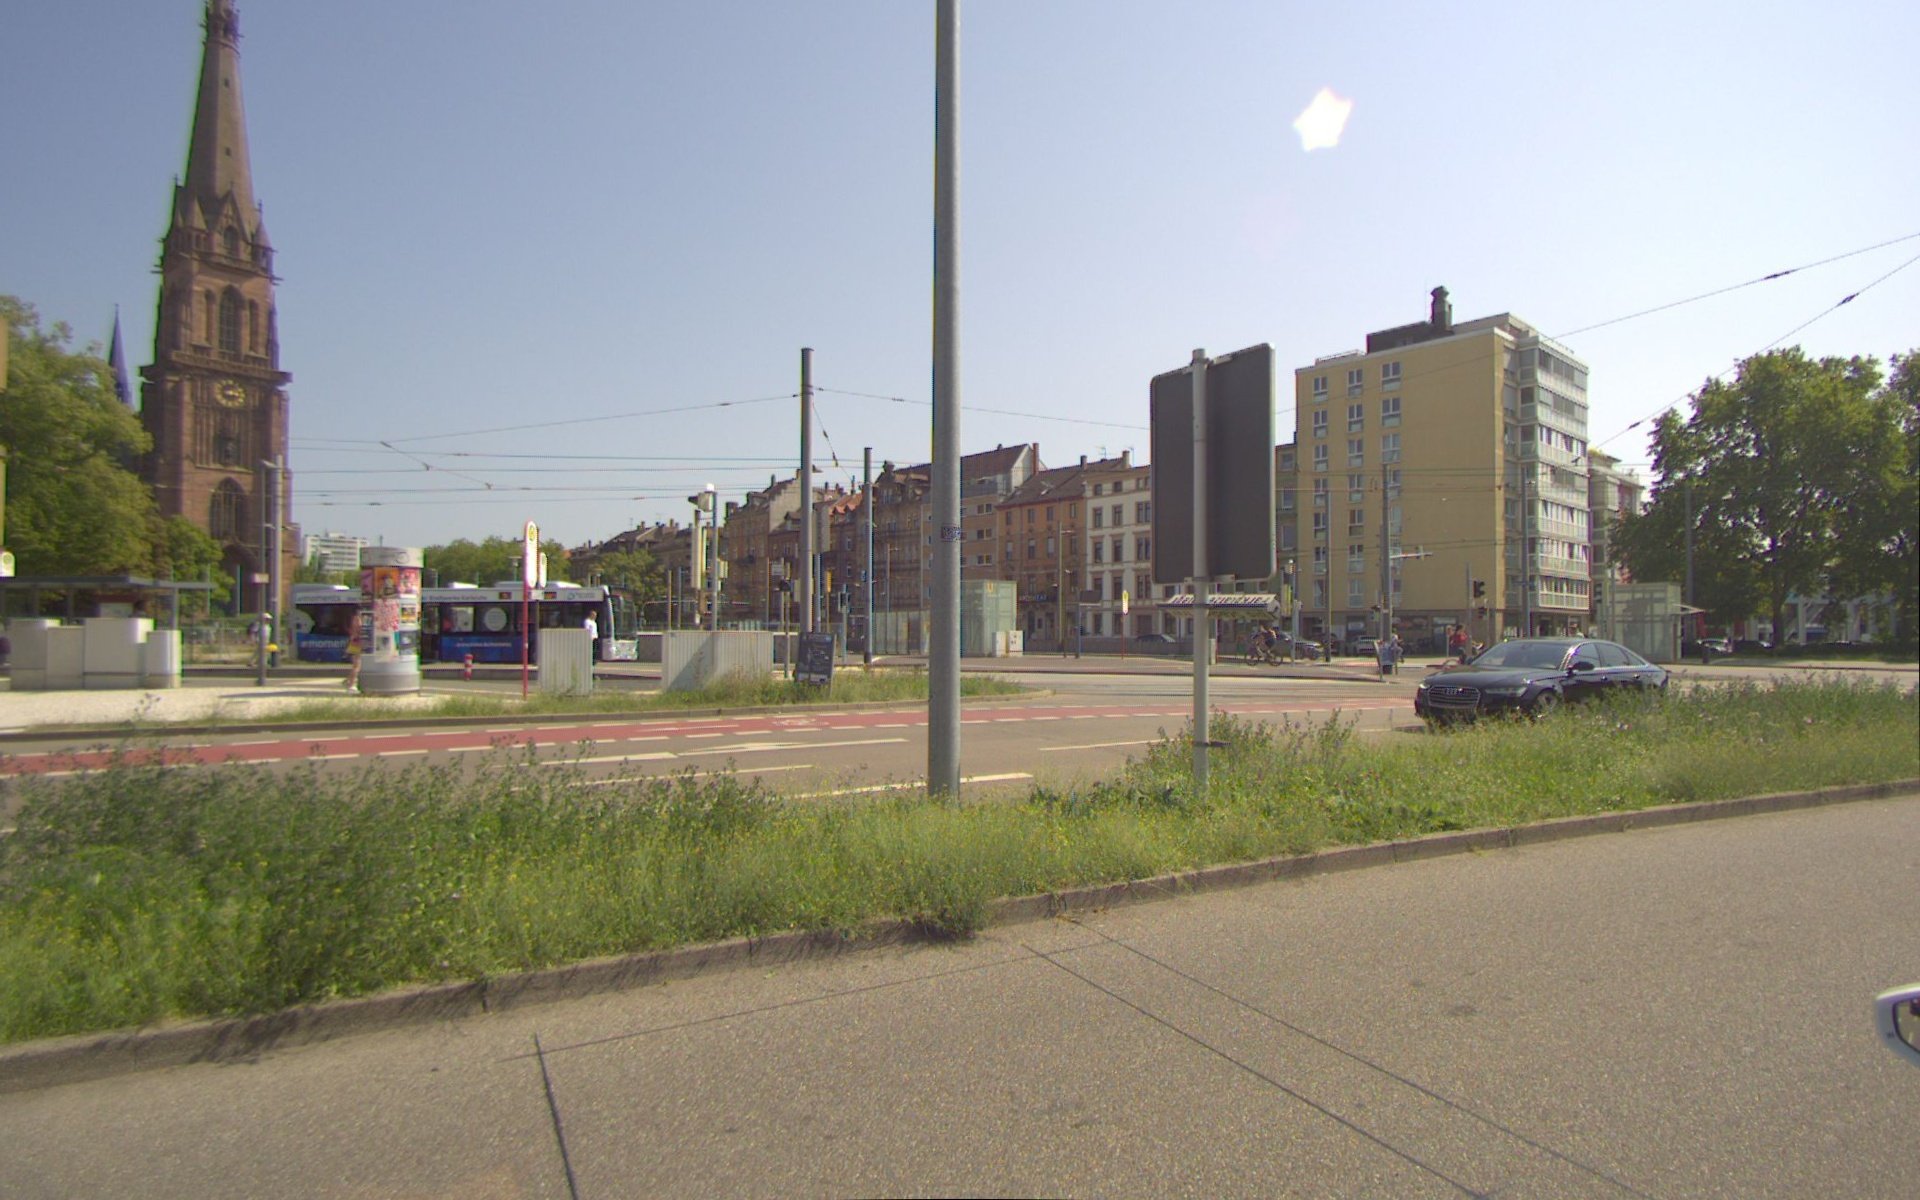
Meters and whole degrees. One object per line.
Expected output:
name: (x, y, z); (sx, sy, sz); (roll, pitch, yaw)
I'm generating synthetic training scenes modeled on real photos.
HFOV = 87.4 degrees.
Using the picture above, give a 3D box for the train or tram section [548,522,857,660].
train or tram section: (-7.226, -0.141, 29.066); (8.080, 3.616, 3.147); (-1, -3, 1)

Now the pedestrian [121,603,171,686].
pedestrian: (-17.852, 0.975, 22.051); (0.541, 1.786, 0.696); (1, -2, -11)

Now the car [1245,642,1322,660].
car: (18.595, 2.917, 57.825); (3.841, 1.000, 1.707); (-2, -3, 43)

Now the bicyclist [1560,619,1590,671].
bicyclist: (20.265, 1.483, 33.105); (0.607, 1.671, 0.693); (0, -1, 12)

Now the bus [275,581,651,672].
bus: (-17.931, 0.967, 36.744); (12.233, 3.111, 3.108); (0, -2, 2)

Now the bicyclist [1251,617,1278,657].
bicyclist: (12.996, 1.567, 42.902); (0.958, 1.675, 0.661); (-1, -2, 33)

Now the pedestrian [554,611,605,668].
pedestrian: (-12.984, 1.354, 34.317); (1.284, 1.910, 1.039); (0, -3, 4)

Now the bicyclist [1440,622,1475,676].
bicyclist: (15.799, 1.552, 31.891); (0.602, 1.664, 0.831); (1, -2, -42)

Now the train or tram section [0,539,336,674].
train or tram section: (-23.329, 0.289, 29.459); (8.080, 3.616, 3.147); (-1, -3, 1)

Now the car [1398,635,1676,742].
car: (9.169, 1.301, 15.850); (4.712, 1.429, 1.761); (2, -1, -31)

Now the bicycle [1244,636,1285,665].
bicycle: (13.055, 2.132, 42.972); (0.958, 1.194, 2.825); (-1, -2, 32)

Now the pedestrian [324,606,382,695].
pedestrian: (-12.112, 0.998, 20.063); (0.615, 1.725, 0.787); (2, -1, 2)

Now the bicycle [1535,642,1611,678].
bicycle: (20.194, 1.979, 33.111); (2.002, 1.152, 0.699); (0, -2, 11)

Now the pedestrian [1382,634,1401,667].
pedestrian: (22.010, 2.571, 51.241); (0.808, 1.654, 0.643); (2, -2, -42)

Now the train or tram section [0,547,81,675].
train or tram section: (-31.381, 0.446, 29.659); (8.080, 3.616, 3.147); (-1, -3, 1)

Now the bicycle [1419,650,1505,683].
bicycle: (15.869, 2.088, 31.803); (0.599, 0.966, 2.387); (2, -3, -42)
